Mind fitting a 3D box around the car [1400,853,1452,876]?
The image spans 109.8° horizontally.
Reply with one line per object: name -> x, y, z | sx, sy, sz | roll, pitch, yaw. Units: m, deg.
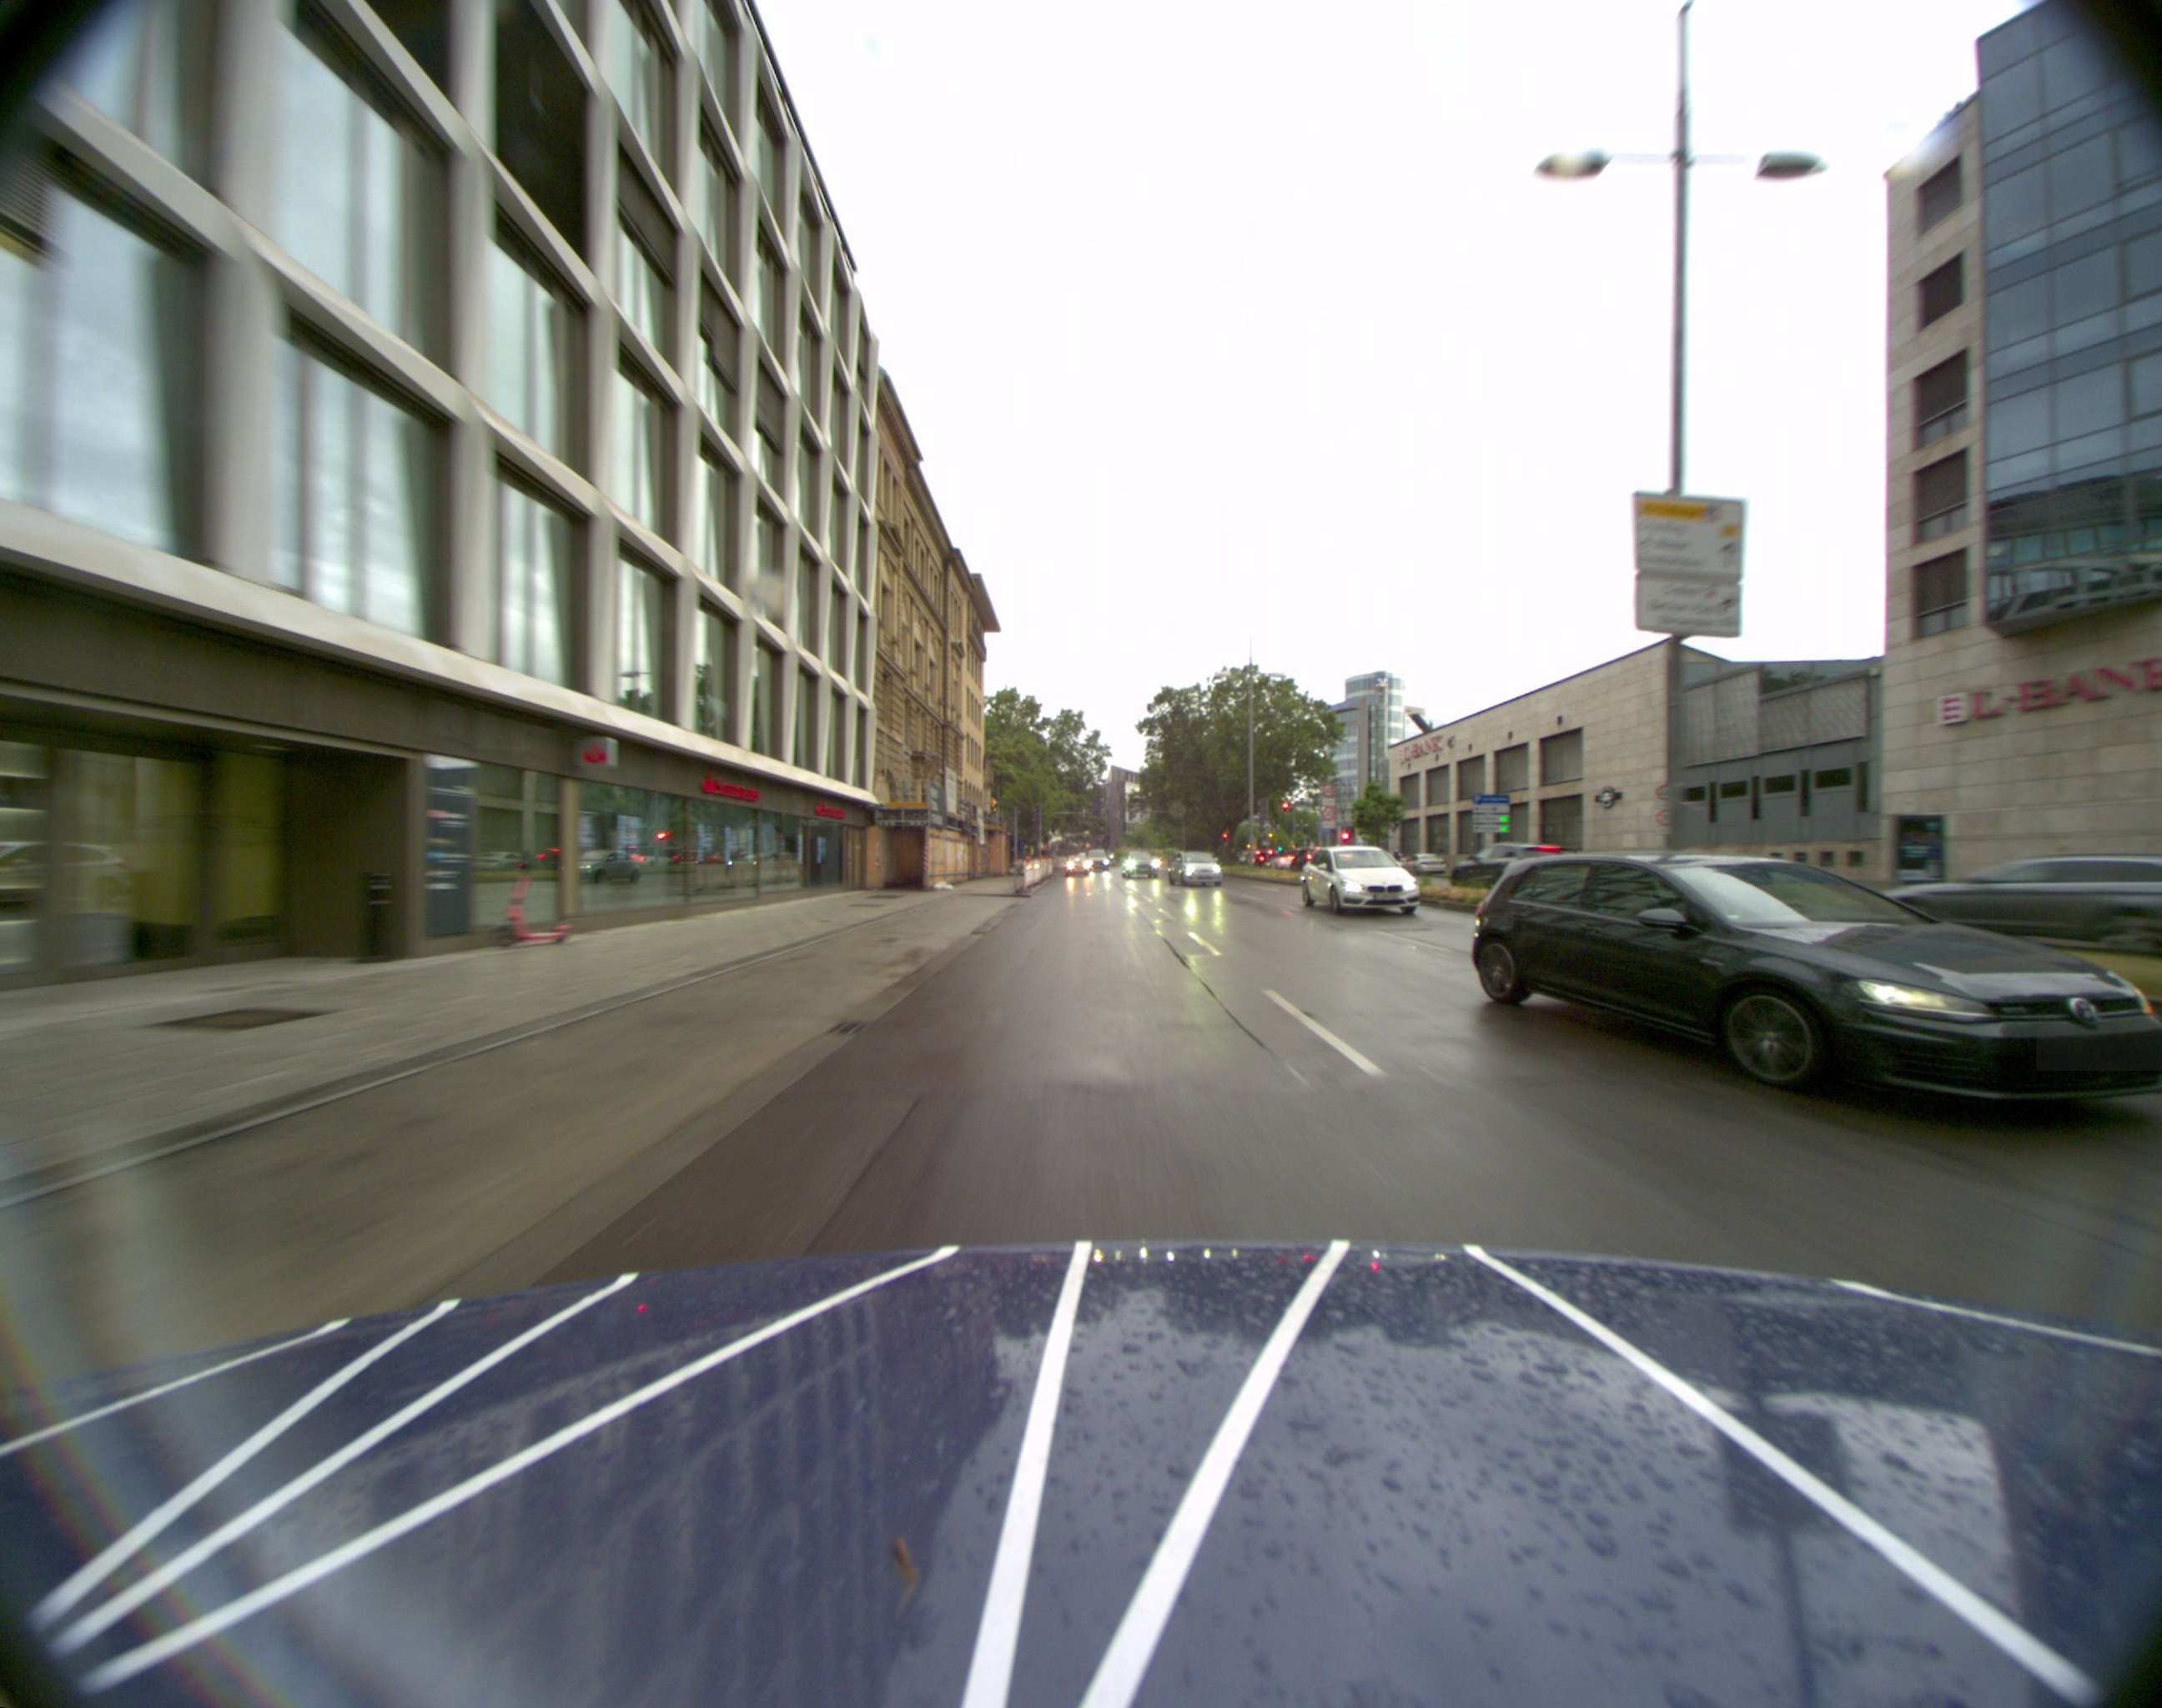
car -> 23.248, 0.701, 51.430 | 1.751, 1.407, 4.706 | 0, 1, 5

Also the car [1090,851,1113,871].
car -> 1.836, 0.567, 67.594 | 1.998, 1.734, 3.910 | 0, 0, 2

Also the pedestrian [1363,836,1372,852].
pedestrian -> 35.514, -1.209, 94.178 | 0.589, 1.913, 1.125 | -2, 1, 1

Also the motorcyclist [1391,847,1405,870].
motorcyclist -> 20.830, 0.312, 49.900 | 0.521, 1.520, 0.973 | 0, 0, 2

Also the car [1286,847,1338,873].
car -> 13.449, 0.316, 44.457 | 1.704, 1.429, 4.581 | 0, 1, 1

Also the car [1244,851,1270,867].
car -> 15.560, 0.410, 67.250 | 1.751, 1.357, 4.132 | 0, 1, 6

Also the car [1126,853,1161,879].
car -> 3.692, 0.677, 45.546 | 1.717, 1.433, 3.493 | 1, 0, -1

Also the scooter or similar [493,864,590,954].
scooter or similar -> -7.855, 0.769, 11.107 | 0.412, 1.229, 1.190 | 0, 1, 9

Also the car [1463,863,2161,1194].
car -> 4.876, 0.839, 5.652 | 1.789, 1.444, 4.121 | -1, 0, -4

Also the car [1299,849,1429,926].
car -> 6.662, 0.714, 18.350 | 1.781, 1.587, 4.000 | 0, 1, 2

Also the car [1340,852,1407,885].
car -> 13.053, 0.609, 34.181 | 1.600, 1.352, 4.116 | 0, 1, 3

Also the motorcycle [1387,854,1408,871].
motorcycle -> 20.842, 0.543, 50.078 | 0.550, 1.124, 2.033 | 0, 0, 2

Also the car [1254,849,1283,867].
car -> 14.802, 0.274, 60.133 | 1.751, 1.357, 3.944 | 0, 1, 6

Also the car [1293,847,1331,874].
car -> 17.976, 0.478, 59.321 | 1.835, 1.991, 5.105 | 0, 1, 5

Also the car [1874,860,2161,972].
car -> 15.641, 0.865, 11.793 | 1.695, 1.430, 4.758 | 0, 1, 1

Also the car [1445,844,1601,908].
car -> 12.768, 0.545, 22.354 | 1.878, 1.671, 4.680 | 0, 1, 0

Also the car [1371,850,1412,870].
car -> 23.802, 0.412, 58.371 | 1.751, 1.407, 4.294 | 0, 1, 6

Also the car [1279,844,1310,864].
car -> 18.516, -0.044, 65.934 | 1.835, 1.630, 4.092 | 0, 1, 4

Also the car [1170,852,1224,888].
car -> 5.055, 0.665, 33.466 | 1.612, 1.433, 3.492 | -1, 0, -4

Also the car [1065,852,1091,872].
car -> -0.182, 0.493, 51.379 | 1.716, 1.274, 3.493 | 0, 1, 0

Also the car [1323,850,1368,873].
car -> 17.673, 0.455, 50.911 | 1.730, 1.424, 4.396 | 0, 1, 4

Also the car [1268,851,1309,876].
car -> 14.331, 0.626, 52.650 | 1.864, 1.434, 4.313 | 3, 1, 4
